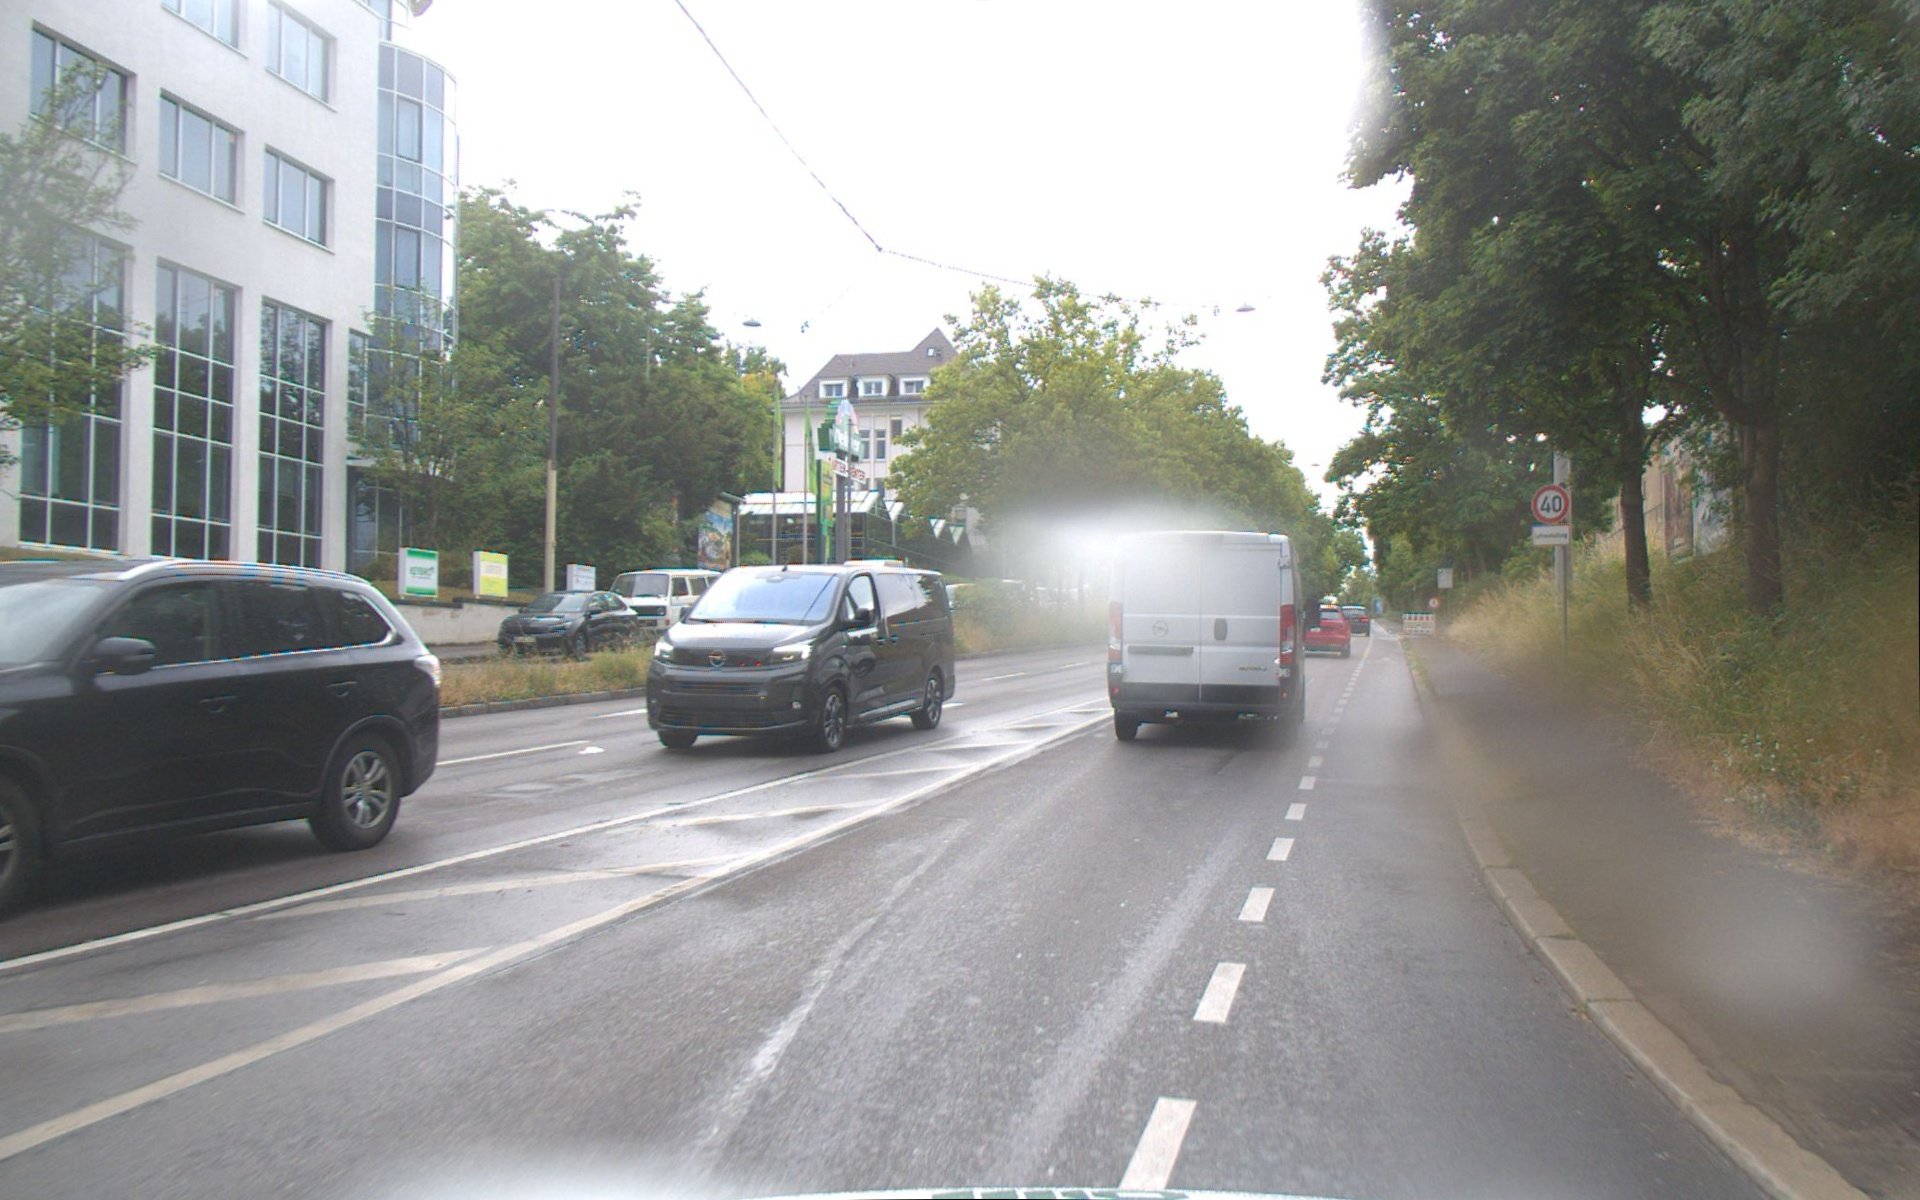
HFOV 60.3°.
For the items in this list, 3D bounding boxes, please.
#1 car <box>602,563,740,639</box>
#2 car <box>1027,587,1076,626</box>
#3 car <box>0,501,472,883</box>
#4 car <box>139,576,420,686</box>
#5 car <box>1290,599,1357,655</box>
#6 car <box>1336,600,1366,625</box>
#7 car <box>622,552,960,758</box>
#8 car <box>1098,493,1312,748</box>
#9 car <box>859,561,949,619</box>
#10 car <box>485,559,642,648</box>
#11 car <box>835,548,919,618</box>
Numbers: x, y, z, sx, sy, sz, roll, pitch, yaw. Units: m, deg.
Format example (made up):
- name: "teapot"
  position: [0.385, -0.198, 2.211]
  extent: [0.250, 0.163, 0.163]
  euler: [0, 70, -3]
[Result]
- name: "car"
  position: [-7.123, 0.009, 41.209]
  extent: [1.733, 1.776, 4.588]
  euler: [-1, 1, 13]
- name: "car"
  position: [3.672, 0.293, 66.134]
  extent: [1.331, 1.419, 3.710]
  euler: [0, -2, 13]
- name: "car"
  position: [-4.561, 0.454, 8.577]
  extent: [1.652, 1.633, 4.731]
  euler: [0, -2, 15]
- name: "car"
  position: [-10.457, 0.415, 25.847]
  extent: [1.652, 1.561, 4.676]
  euler: [-1, 1, 13]
- name: "car"
  position: [10.265, 0.785, 46.606]
  extent: [1.657, 1.451, 3.369]
  euler: [1, -2, 15]
- name: "car"
  position: [18.966, 0.617, 80.245]
  extent: [1.315, 1.159, 2.291]
  euler: [0, -3, 16]
- name: "car"
  position: [-1.616, 0.525, 17.967]
  extent: [1.972, 1.899, 5.045]
  euler: [0, 0, 15]
- name: "car"
  position: [3.027, 0.199, 19.467]
  extent: [2.006, 2.560, 4.947]
  euler: [2, 0, 13]
- name: "car"
  position: [-1.545, -0.301, 46.882]
  extent: [1.558, 1.567, 3.995]
  euler: [-1, 1, 13]
- name: "car"
  position: [-8.223, 0.046, 34.681]
  extent: [1.576, 1.752, 3.997]
  euler: [-1, 1, 13]
- name: "car"
  position: [-3.072, -0.643, 62.596]
  extent: [1.921, 2.486, 5.661]
  euler: [-1, 1, 10]
